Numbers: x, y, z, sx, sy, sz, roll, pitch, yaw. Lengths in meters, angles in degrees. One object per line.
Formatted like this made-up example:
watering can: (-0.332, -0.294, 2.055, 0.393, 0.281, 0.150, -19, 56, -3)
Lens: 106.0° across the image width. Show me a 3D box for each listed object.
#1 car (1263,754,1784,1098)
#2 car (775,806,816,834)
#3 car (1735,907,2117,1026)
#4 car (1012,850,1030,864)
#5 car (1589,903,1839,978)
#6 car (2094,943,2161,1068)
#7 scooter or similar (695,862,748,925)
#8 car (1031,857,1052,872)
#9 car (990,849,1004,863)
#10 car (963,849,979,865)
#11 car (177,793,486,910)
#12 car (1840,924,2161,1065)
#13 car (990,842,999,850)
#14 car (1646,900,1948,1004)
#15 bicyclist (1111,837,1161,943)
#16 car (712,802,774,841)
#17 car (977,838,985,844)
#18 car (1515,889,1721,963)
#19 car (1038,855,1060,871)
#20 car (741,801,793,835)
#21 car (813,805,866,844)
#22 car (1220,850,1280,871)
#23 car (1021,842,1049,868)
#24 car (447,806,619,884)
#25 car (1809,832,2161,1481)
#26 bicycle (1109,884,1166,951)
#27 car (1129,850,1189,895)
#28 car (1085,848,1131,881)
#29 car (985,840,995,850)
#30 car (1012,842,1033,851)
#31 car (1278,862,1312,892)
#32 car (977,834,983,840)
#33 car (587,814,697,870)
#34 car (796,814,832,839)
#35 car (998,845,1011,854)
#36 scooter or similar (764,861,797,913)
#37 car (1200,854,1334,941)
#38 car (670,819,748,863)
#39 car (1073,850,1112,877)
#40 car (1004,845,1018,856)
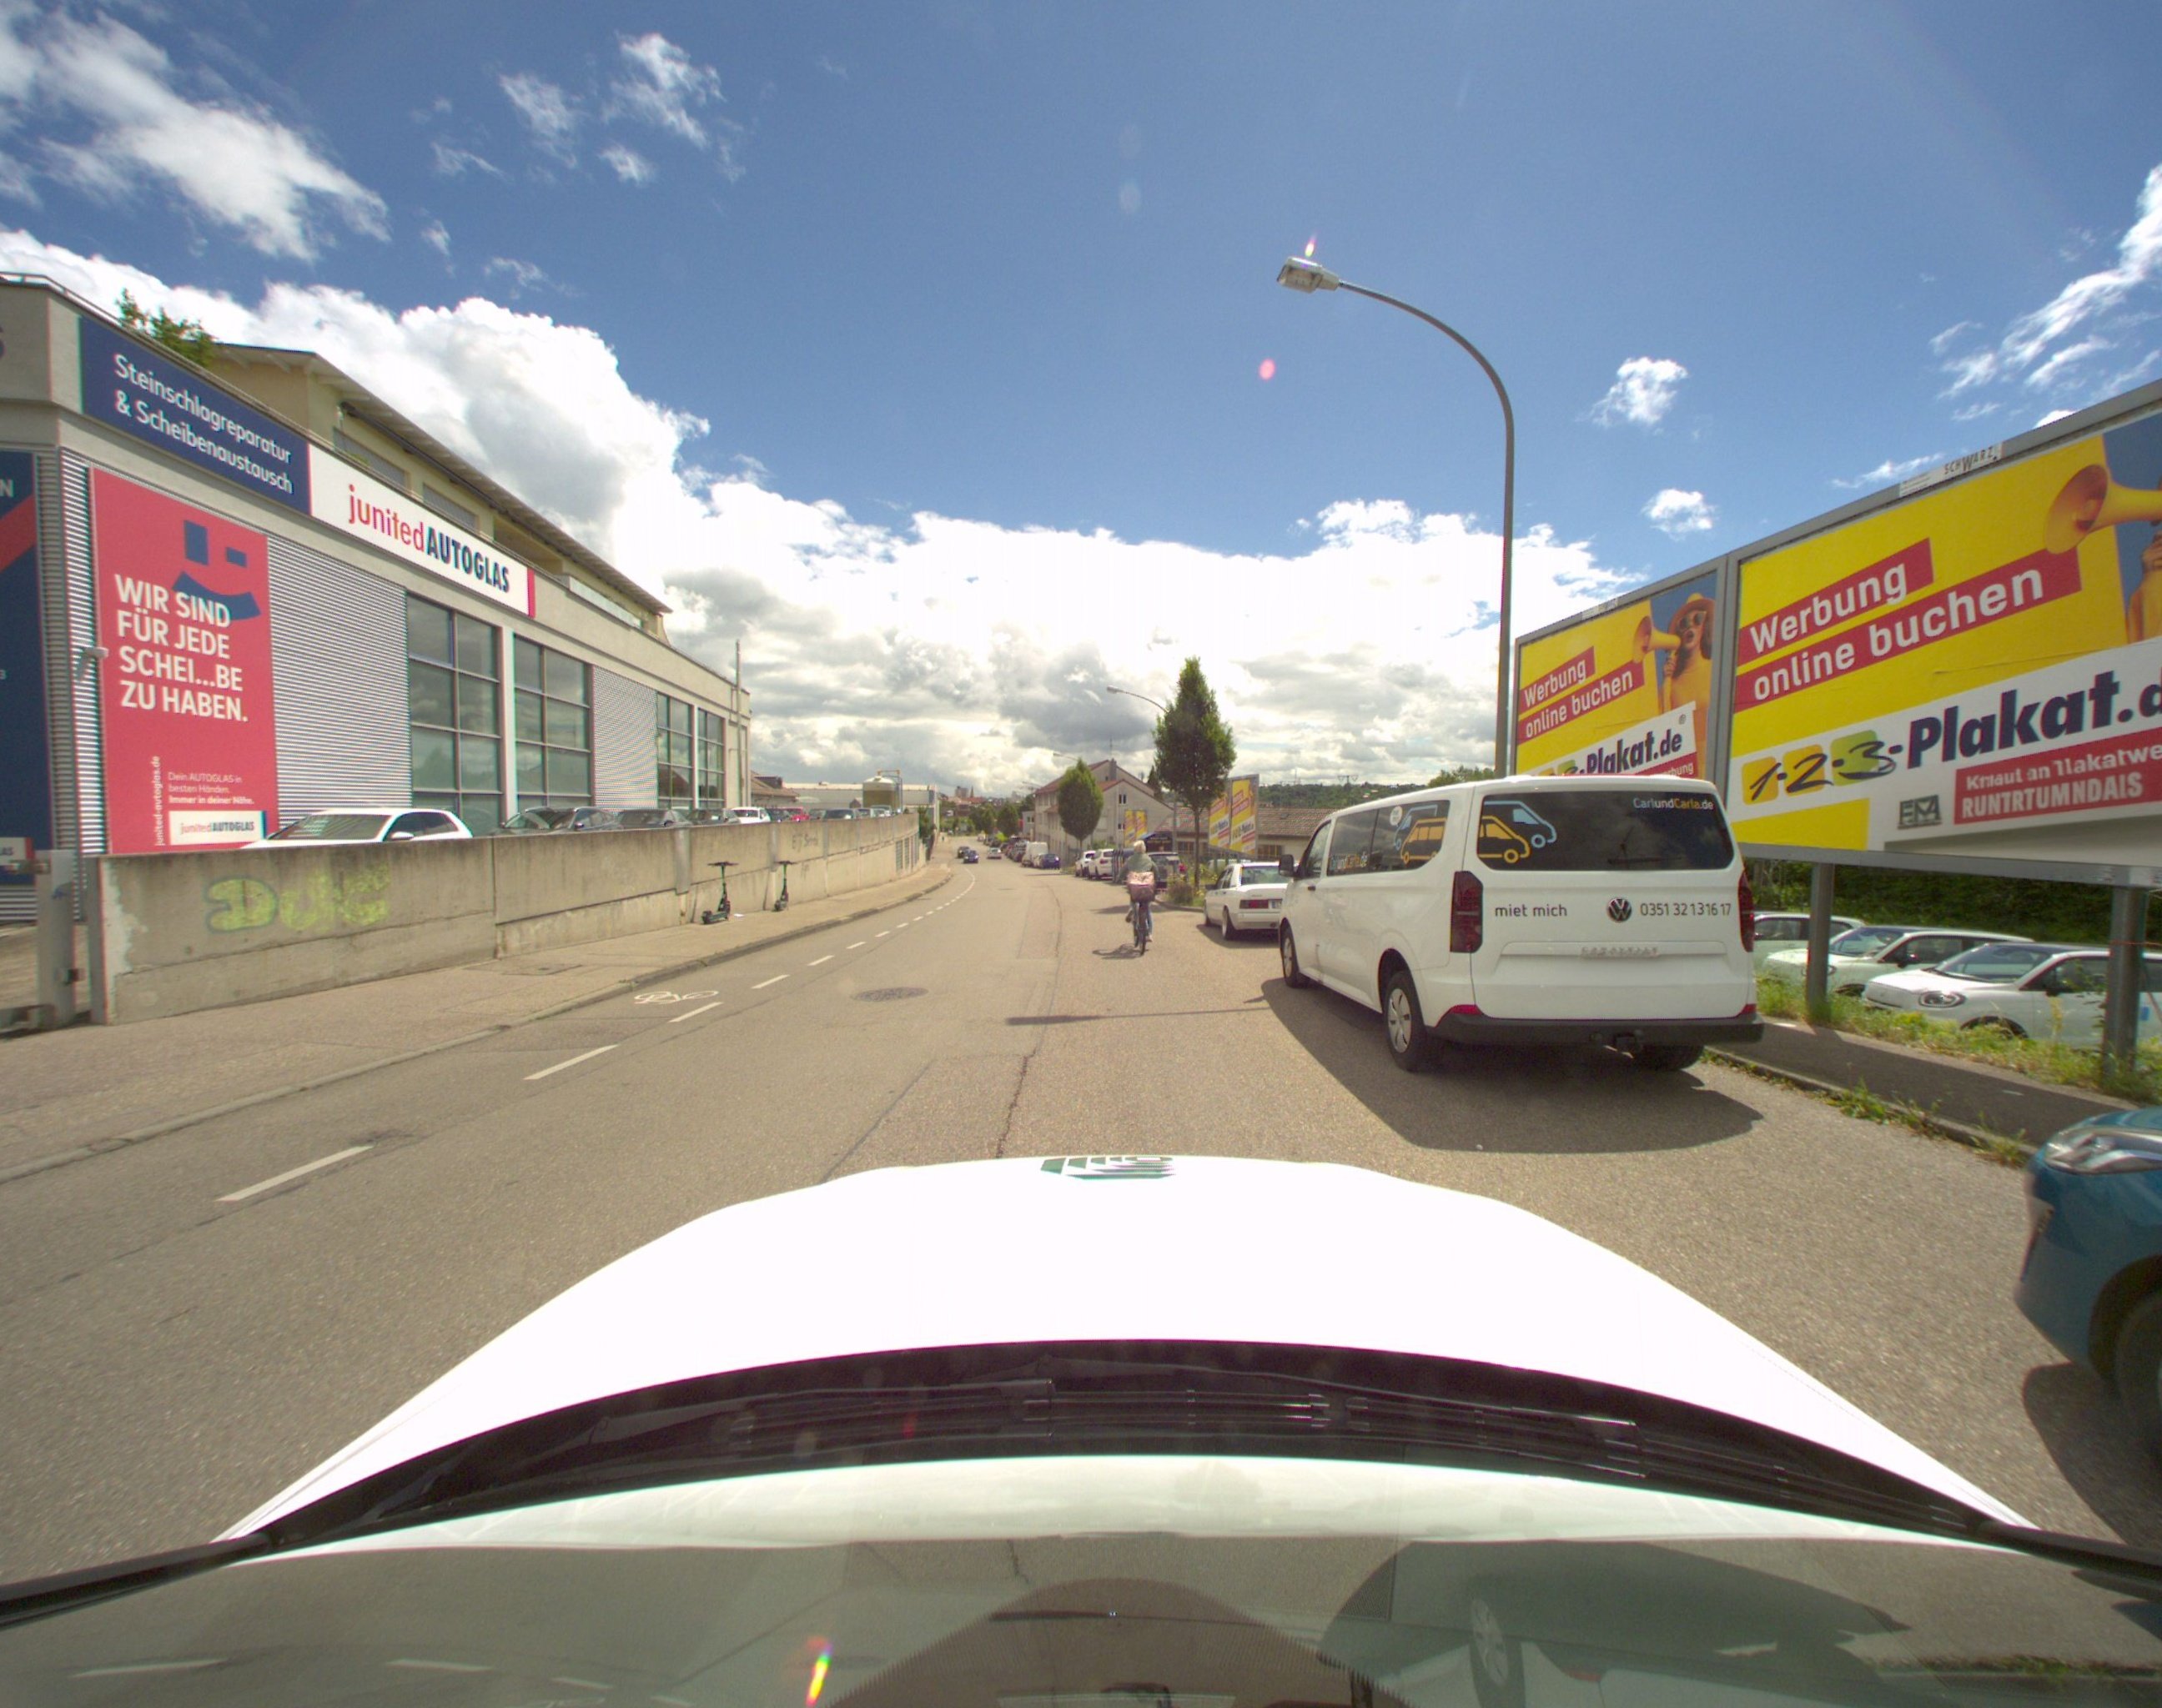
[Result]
car: (3.198, 0.411, 7.532, 1.967, 2.004, 5.549, 0, 0, 2)
car: (-18.120, -2.127, 51.857, 1.806, 1.636, 4.099, 0, 0, -9)
car: (13.221, 1.709, 13.016, 3.962, 1.598, 1.798, -1, 0, 10)
car: (-7.678, 0.385, 103.660, 1.705, 1.509, 5.070, 2, 2, -11)
car: (13.580, 1.827, 17.739, 3.956, 1.381, 1.672, -1, 0, 16)
car: (12.268, 1.646, 7.418, 1.565, 1.260, 3.714, -1, 0, 3)
scooter or similar: (-7.616, 0.808, 17.305, 0.555, 1.276, 1.305, 0, 0, -1)
car: (-3.949, 1.053, 81.563, 1.593, 1.510, 3.776, 0, 0, -11)
car: (-11.404, 0.261, 110.283, 1.567, 1.786, 3.593, 0, 0, -10)
car: (-13.374, 0.395, 99.154, 1.627, 1.817, 3.765, -1, 0, -11)
car: (-12.092, -0.028, 13.591, 1.806, 1.636, 4.099, 0, 0, -9)
car: (12.682, 1.740, 10.482, 3.957, 1.490, 1.653, -1, 0, 15)
car: (-17.289, -1.592, 163.315, 1.678, 1.638, 4.112, 0, 1, -8)
car: (13.253, 1.762, 15.387, 3.953, 1.640, 1.649, -1, 0, 21)
bicyclist: (0.859, 0.553, 12.935, 0.737, 1.626, 0.731, 0, -1, -1)
car: (-15.905, -1.495, 38.490, 1.806, 1.636, 4.099, 0, 0, -9)
car: (-27.140, -3.597, 221.233, 1.703, 1.527, 3.722, 3, 1, -13)
car: (13.183, 1.721, 20.270, 3.955, 1.635, 1.724, -1, 0, 17)
car: (-3.059, 0.836, 76.635, 1.567, 1.510, 4.080, 0, 0, -10)
car: (-16.667, -1.870, 43.406, 1.806, 1.636, 4.099, 0, 0, -9)
car: (-11.364, -1.346, 38.568, 1.805, 1.636, 4.093, 0, 0, -8)
car: (12.467, 0.475, 60.262, 3.992, 1.390, 1.755, 2, 2, 40)
car: (-4.984, 0.134, 87.490, 2.034, 2.641, 7.256, 0, 0, -11)
car: (-12.746, -0.185, 19.290, 1.806, 1.636, 4.099, 0, 0, -9)
car: (3.213, 0.677, 0.719, 1.588, 1.450, 3.978, 0, 0, -1)
bicycle: (0.861, 0.974, 12.928, 0.738, 0.975, 1.731, 0, -2, -2)
car: (2.813, 0.634, 30.168, 1.651, 1.485, 4.041, -2, 0, -2)
car: (1.423, 0.558, 44.728, 1.685, 1.659, 4.466, -1, 0, -9)
car: (-19.989, -1.976, 177.859, 1.869, 1.990, 5.127, 0, 1, -10)
car: (-11.324, -1.458, 157.787, 4.023, 1.462, 1.736, -1, 3, 42)
car: (13.993, 1.477, 53.471, 1.739, 1.684, 4.692, -2, 0, 10)
car: (-28.755, -4.784, 231.892, 1.700, 1.527, 3.728, 0, 1, -8)
car: (-13.702, -0.341, 25.690, 1.806, 1.636, 4.099, 0, 0, -9)
car: (-19.333, -1.955, 59.098, 1.806, 1.636, 4.099, 0, 0, -9)
car: (-12.901, -0.770, 137.106, 1.792, 1.465, 4.691, 0, 1, -11)
scooter or similar: (-7.760, 0.830, 21.090, 0.519, 1.276, 1.378, 2, -1, -11)
car: (3.305, 0.706, 15.197, 1.631, 1.387, 4.205, 0, 0, 1)
car: (-14.723, -0.493, 32.479, 1.806, 1.636, 4.099, 0, 0, -9)
car: (0.662, 0.558, 50.523, 1.840, 1.565, 4.454, -2, 0, -7)
car: (-10.421, -0.542, 120.945, 1.734, 1.472, 4.249, 0, 2, -9)
